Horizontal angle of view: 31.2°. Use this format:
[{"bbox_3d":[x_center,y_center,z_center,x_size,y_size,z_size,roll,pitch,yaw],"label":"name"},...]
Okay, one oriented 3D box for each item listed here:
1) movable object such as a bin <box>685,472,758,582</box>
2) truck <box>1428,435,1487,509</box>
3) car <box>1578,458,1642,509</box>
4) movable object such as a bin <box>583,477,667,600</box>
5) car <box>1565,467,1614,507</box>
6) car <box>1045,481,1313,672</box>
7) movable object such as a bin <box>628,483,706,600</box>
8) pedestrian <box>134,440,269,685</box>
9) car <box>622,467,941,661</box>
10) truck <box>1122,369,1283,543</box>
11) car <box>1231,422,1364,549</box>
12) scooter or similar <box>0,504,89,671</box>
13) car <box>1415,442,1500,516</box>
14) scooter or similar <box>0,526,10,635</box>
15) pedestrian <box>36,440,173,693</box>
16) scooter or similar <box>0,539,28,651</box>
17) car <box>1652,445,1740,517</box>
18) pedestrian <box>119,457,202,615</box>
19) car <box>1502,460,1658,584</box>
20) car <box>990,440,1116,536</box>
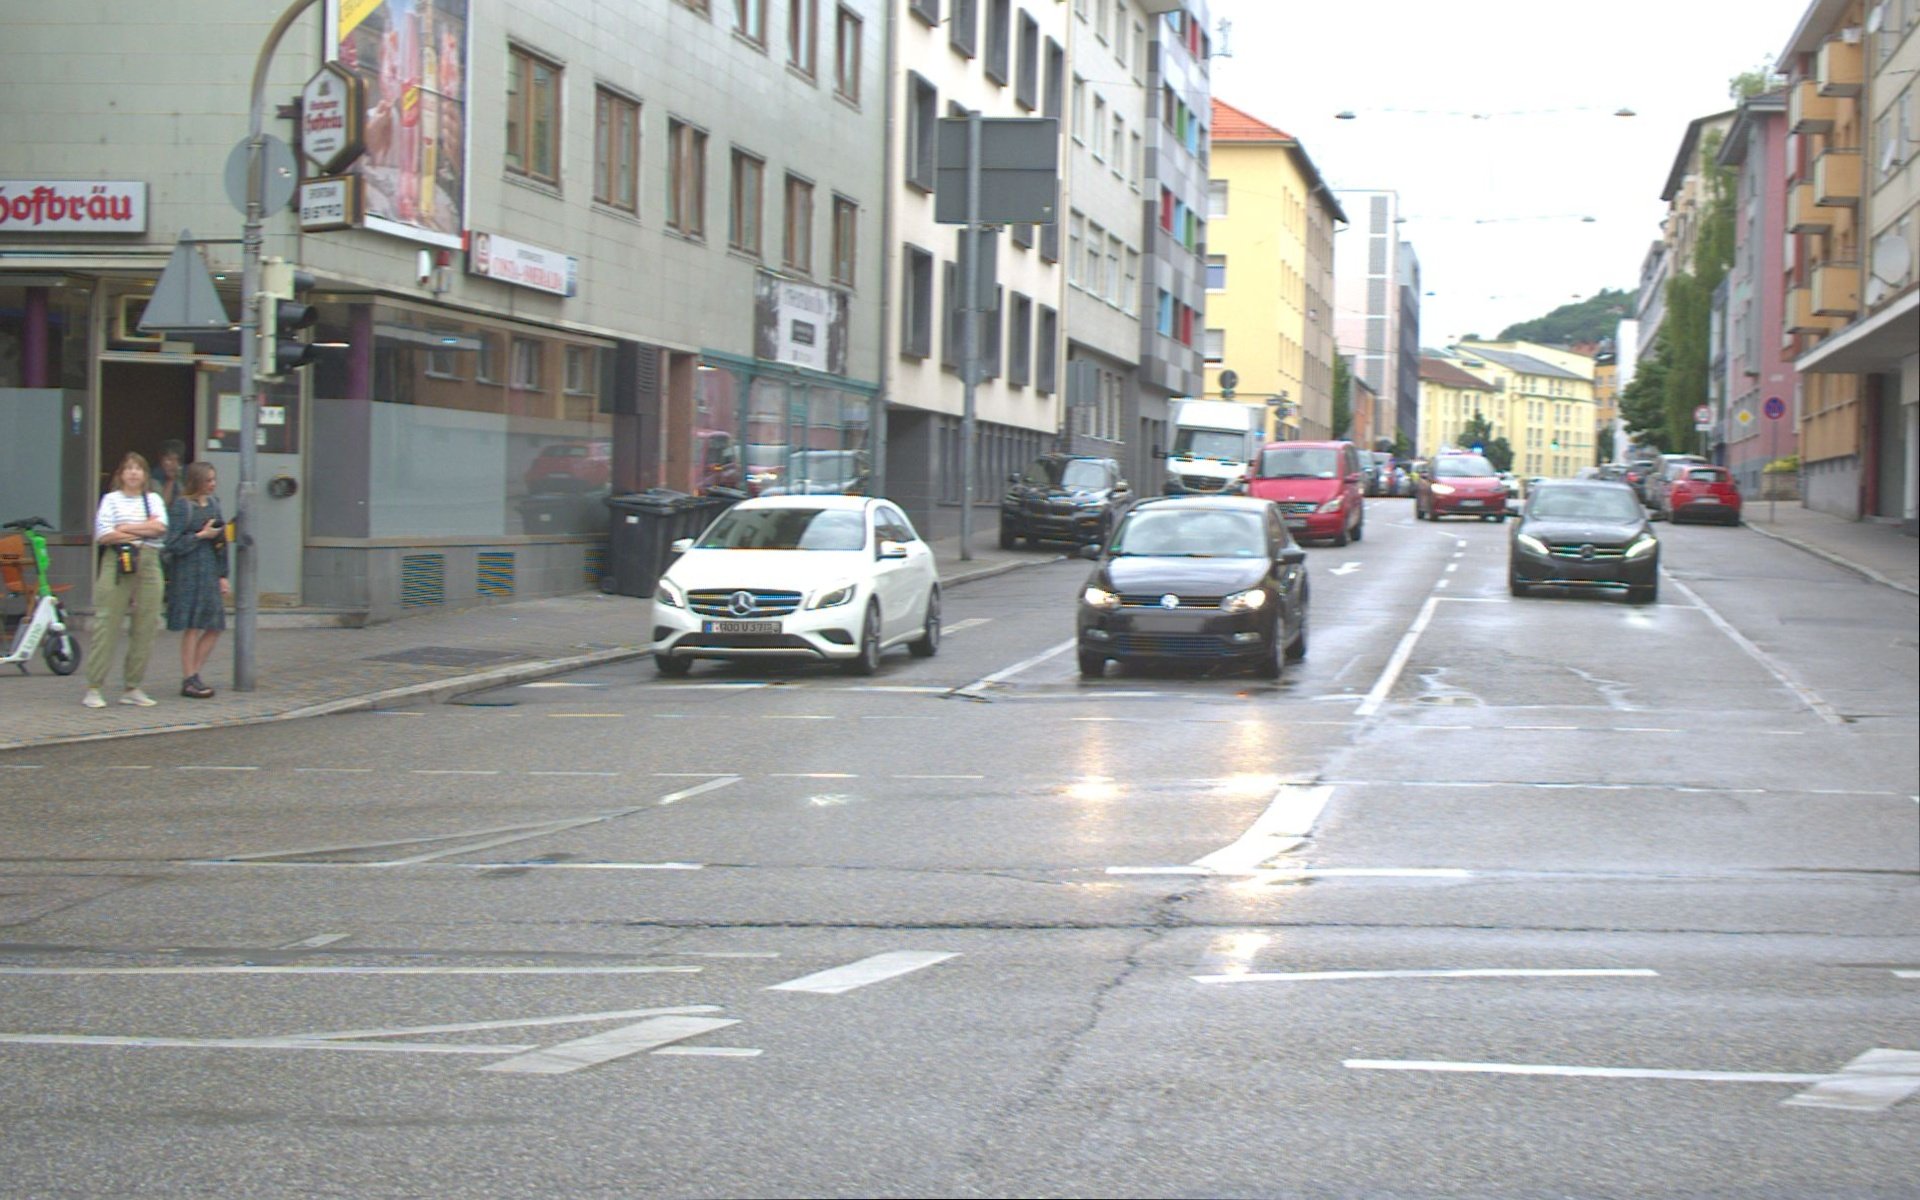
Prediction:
[{"bbox_3d":[-2.936,-0.895,42.341,0.697,1.311,0.782,2,0,8],"label":"movable object such as a bin"},{"bbox_3d":[28.388,-7.266,195.872,2.809,3.819,8.140,2,1,11],"label":"truck"},{"bbox_3d":[22.343,-3.978,118.088,2.017,1.557,3.998,2,1,12],"label":"car"},{"bbox_3d":[-3.675,-0.673,37.758,0.697,1.311,0.782,2,0,8],"label":"movable object such as a bin"},{"bbox_3d":[27.807,-4.993,151.776,2.017,1.557,3.998,2,1,12],"label":"car"},{"bbox_3d":[1.910,-0.228,28.845,1.845,1.484,3.999,0,1,9],"label":"car"},{"bbox_3d":[-3.376,-0.669,39.663,0.697,1.311,0.782,2,0,8],"label":"movable object such as a bin"},{"bbox_3d":[-5.279,-0.270,23.915,0.707,1.641,0.759,0,5,-27],"label":"pedestrian"},{"bbox_3d":[-1.414,-0.325,28.866,1.845,1.507,3.999,0,1,9],"label":"car"},{"bbox_3d":[5.988,-3.413,83.788,2.809,3.819,8.140,2,1,11],"label":"truck"},{"bbox_3d":[6.250,-2.071,63.232,2.066,2.233,4.618,0,1,10],"label":"car"},{"bbox_3d":[-7.146,-0.110,24.859,1.556,1.186,0.501,2,0,-20],"label":"scooter or similar"},{"bbox_3d":[11.807,-2.852,81.444,1.845,1.668,3.998,0,1,10],"label":"car"},{"bbox_3d":[-8.059,-0.185,26.889,0.548,0.840,1.465,2,1,-44],"label":"scooter or similar"},{"bbox_3d":[-5.767,-0.235,23.165,0.707,1.641,0.759,0,5,-27],"label":"pedestrian"},{"bbox_3d":[-7.536,-0.056,26.783,0.458,0.840,1.323,2,1,-14],"label":"scooter or similar"},{"bbox_3d":[18.480,-2.965,86.429,2.017,1.557,5.152,2,1,12],"label":"car"},{"bbox_3d":[-7.223,-0.578,31.086,0.519,1.395,0.578,2,0,6],"label":"pedestrian"},{"bbox_3d":[7.806,-0.976,43.442,1.845,1.484,3.999,0,1,9],"label":"car"},{"bbox_3d":[1.647,-1.923,59.666,1.724,1.597,3.999,0,1,8],"label":"car"}]
